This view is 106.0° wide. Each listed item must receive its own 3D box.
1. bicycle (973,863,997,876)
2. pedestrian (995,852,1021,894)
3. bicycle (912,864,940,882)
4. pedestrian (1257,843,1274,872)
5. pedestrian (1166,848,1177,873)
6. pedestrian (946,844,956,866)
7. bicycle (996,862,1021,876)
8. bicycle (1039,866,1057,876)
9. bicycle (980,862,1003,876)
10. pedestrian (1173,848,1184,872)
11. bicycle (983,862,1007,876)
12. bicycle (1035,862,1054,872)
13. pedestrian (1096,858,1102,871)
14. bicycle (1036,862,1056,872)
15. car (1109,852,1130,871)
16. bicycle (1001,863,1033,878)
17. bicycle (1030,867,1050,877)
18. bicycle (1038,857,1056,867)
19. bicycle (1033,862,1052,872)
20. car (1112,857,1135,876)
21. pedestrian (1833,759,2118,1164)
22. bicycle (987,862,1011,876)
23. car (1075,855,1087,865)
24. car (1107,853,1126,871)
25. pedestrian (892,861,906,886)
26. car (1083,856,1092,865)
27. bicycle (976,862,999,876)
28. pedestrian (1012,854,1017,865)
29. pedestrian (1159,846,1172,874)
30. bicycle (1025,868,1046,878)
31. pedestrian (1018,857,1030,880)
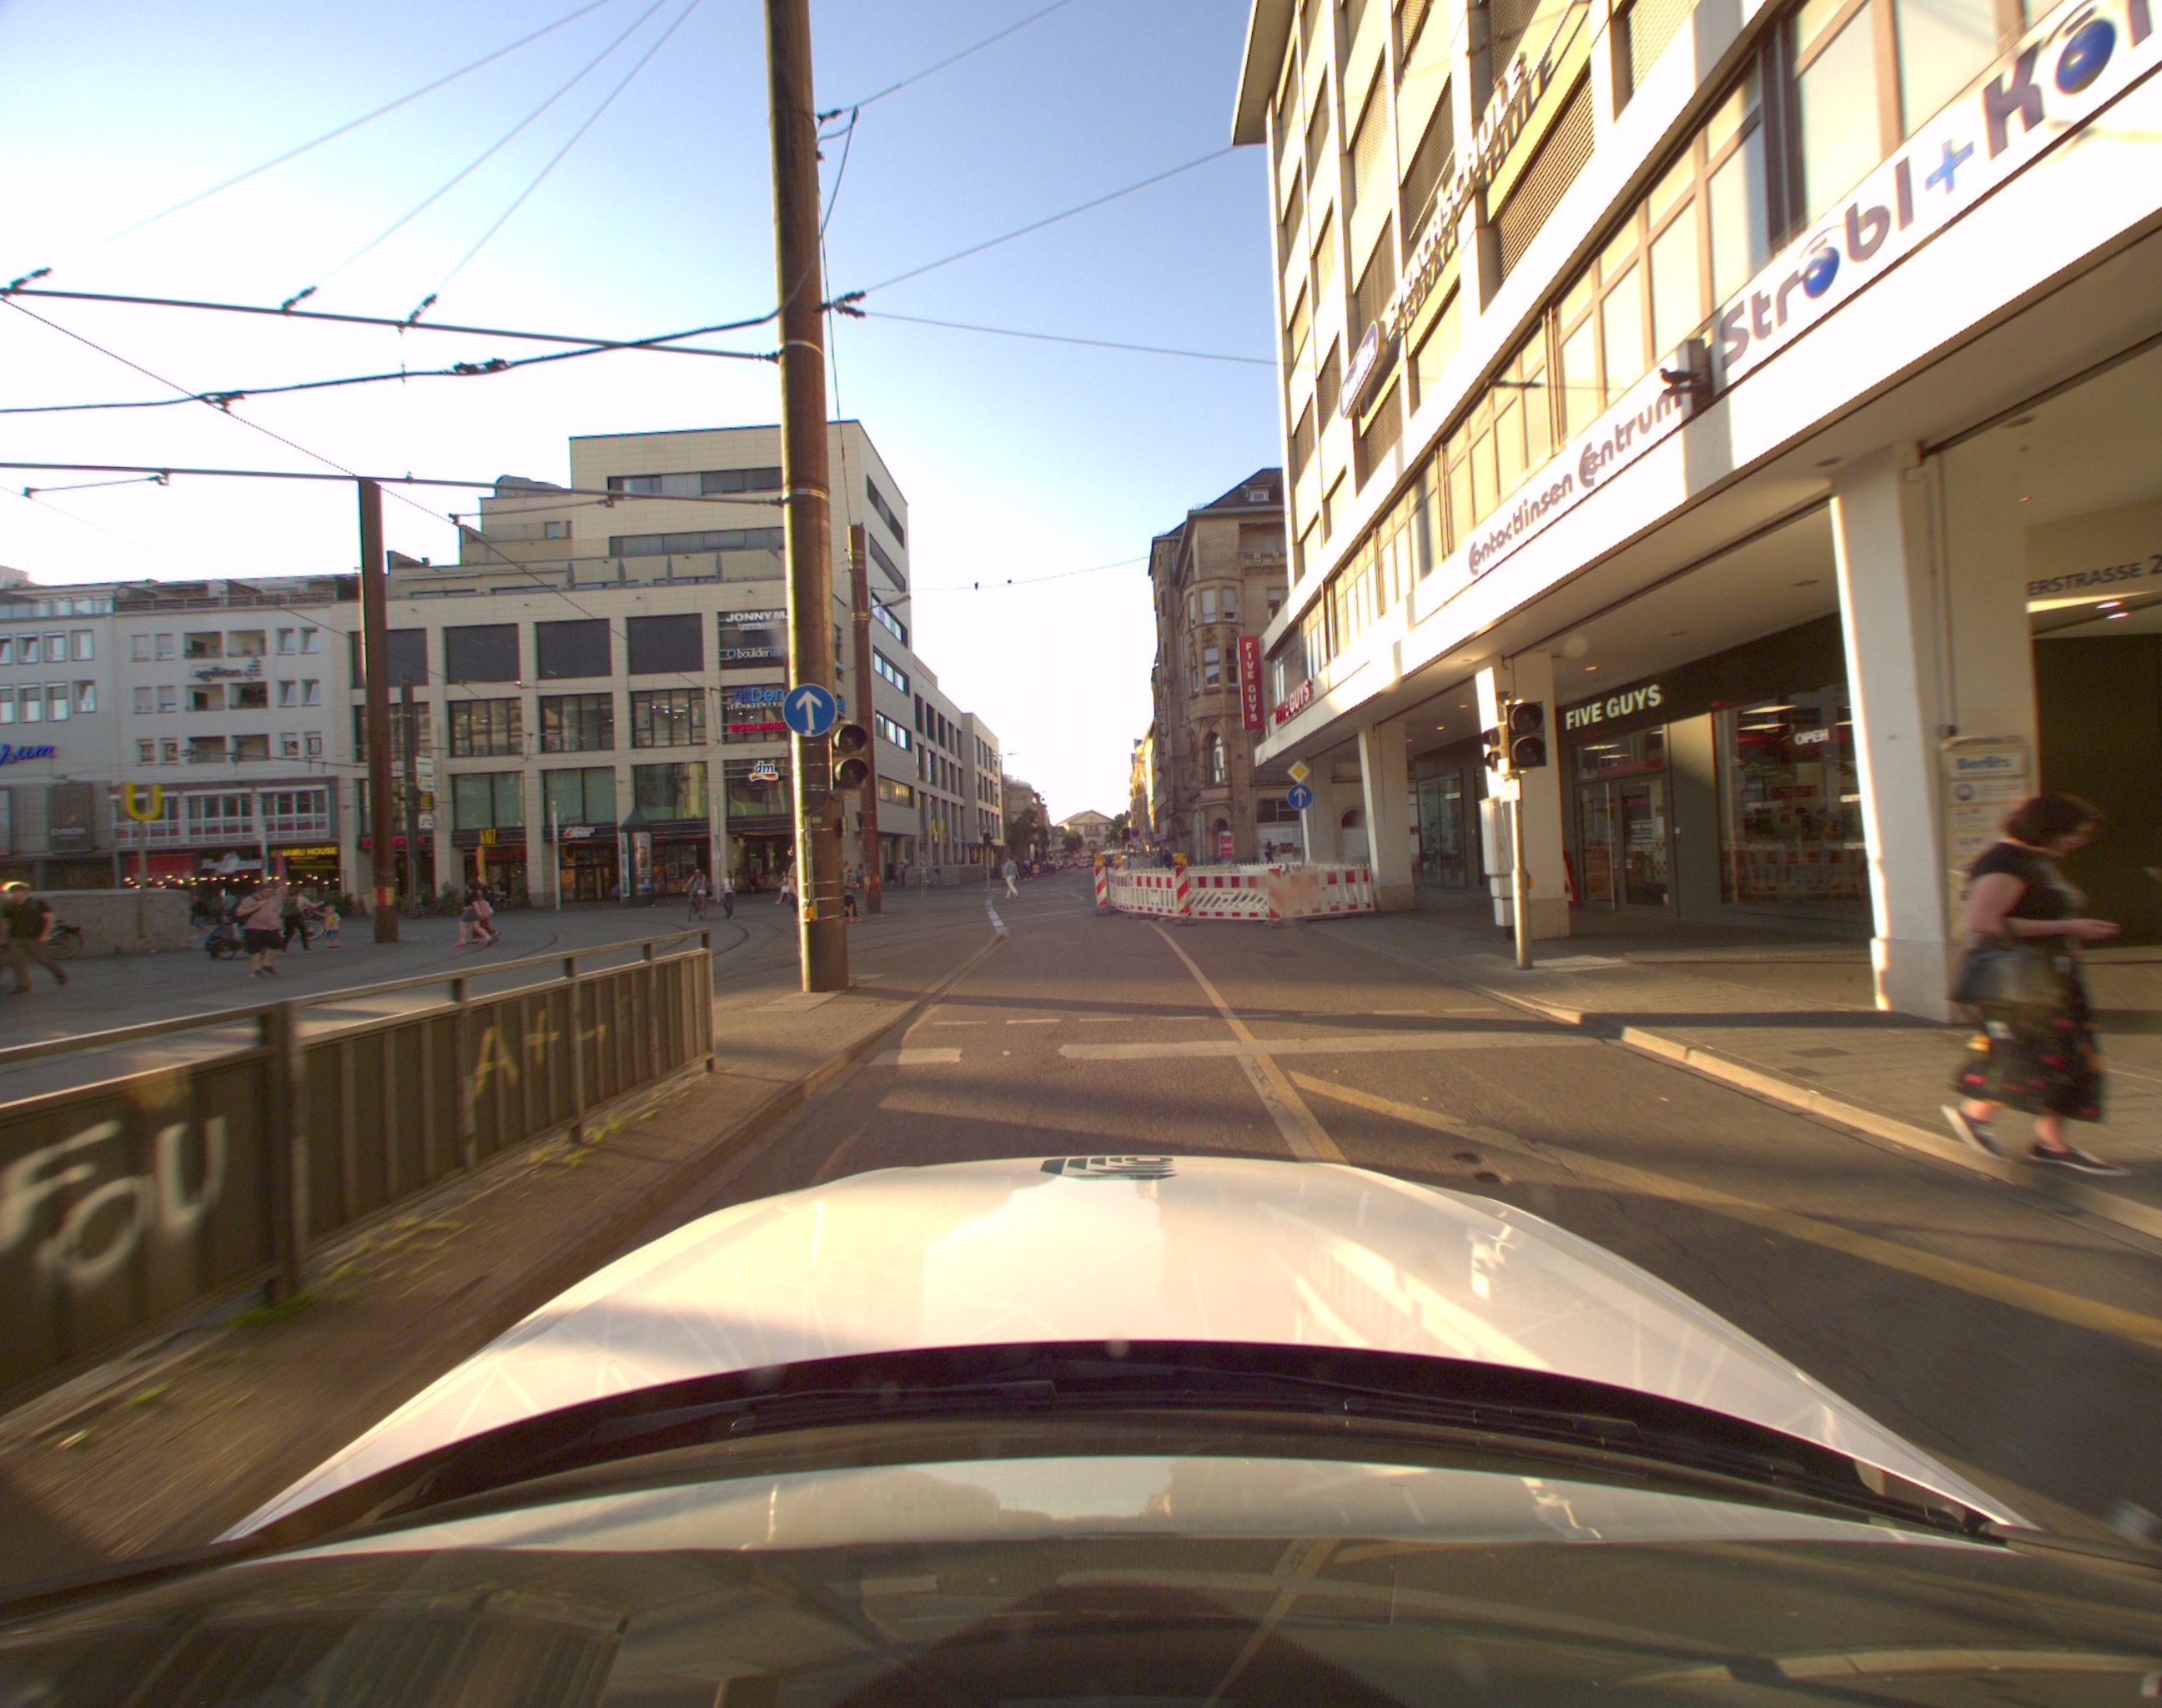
[{"bbox_3d":[-8.579,1.388,72.782,1.978,1.122,0.553,-1,-1,-28],"label":"bicycle"},{"bbox_3d":[-3.070,0.802,34.451,0.859,1.761,0.770,-1,-1,13],"label":"pedestrian"},{"bbox_3d":[-10.150,1.228,53.312,1.688,1.122,0.451,-1,-1,3],"label":"bicycle"},{"bbox_3d":[10.314,0.200,45.543,0.816,1.611,0.713,-1,-1,1],"label":"pedestrian"},{"bbox_3d":[6.334,0.459,56.811,0.623,1.690,0.671,-3,0,-1],"label":"pedestrian"},{"bbox_3d":[-10.306,0.081,64.758,0.679,1.681,0.600,-1,-1,-2],"label":"pedestrian"},{"bbox_3d":[-6.091,1.235,68.351,1.978,1.122,0.553,-1,-1,-28],"label":"bicycle"},{"bbox_3d":[-4.059,2.087,100.108,2.139,1.029,0.641,-3,0,3],"label":"bicycle"},{"bbox_3d":[-7.814,1.291,71.219,1.978,1.122,0.553,-1,-1,-28],"label":"bicycle"},{"bbox_3d":[6.866,0.417,57.516,0.623,1.690,0.626,-3,-1,-1],"label":"pedestrian"},{"bbox_3d":[-7.433,1.278,70.585,1.978,1.122,0.553,-1,-1,-28],"label":"bicycle"},{"bbox_3d":[-4.251,1.542,96.197,2.139,1.029,0.641,-3,0,3],"label":"bicycle"},{"bbox_3d":[2.558,1.511,115.732,0.602,1.823,0.448,-2,-1,-25],"label":"pedestrian"},{"bbox_3d":[-4.105,1.534,95.465,2.139,1.029,0.641,-3,0,3],"label":"bicycle"},{"bbox_3d":[3.501,0.703,74.576,1.673,1.547,3.674,-4,0,1],"label":"car"},{"bbox_3d":[-6.161,1.597,78.166,2.901,1.255,0.797,-3,0,-25],"label":"bicycle"},{"bbox_3d":[-4.530,1.982,89.841,2.139,0.953,0.641,-3,0,3],"label":"bicycle"},{"bbox_3d":[-4.076,0.988,98.255,2.139,1.029,0.641,-3,0,3],"label":"bicycle"},{"bbox_3d":[-4.471,1.538,94.679,2.139,1.029,0.641,-3,0,3],"label":"bicycle"},{"bbox_3d":[3.342,0.938,63.971,1.673,1.424,3.674,-2,0,1],"label":"car"},{"bbox_3d":[4.053,0.445,3.728,0.698,1.693,0.540,-1,-1,-6],"label":"pedestrian"},{"bbox_3d":[-7.047,1.266,69.938,1.978,1.122,0.553,-1,-1,-28],"label":"bicycle"},{"bbox_3d":[0.007,1.122,153.770,1.986,1.904,4.001,-1,0,1],"label":"car"},{"bbox_3d":[3.464,0.753,80.666,1.673,1.613,4.029,-4,0,1],"label":"car"},{"bbox_3d":[-12.596,1.339,56.395,0.780,1.751,0.600,-1,-1,-2],"label":"pedestrian"},{"bbox_3d":[1.416,1.348,176.784,1.986,1.904,4.001,-1,0,1],"label":"car"},{"bbox_3d":[-8.253,1.304,71.830,1.978,1.122,0.553,-1,-1,-28],"label":"bicycle"},{"bbox_3d":[-10.049,0.886,123.556,0.677,1.621,0.573,-3,-1,1],"label":"pedestrian"},{"bbox_3d":[5.228,0.344,50.303,0.623,1.690,0.671,-3,0,-1],"label":"pedestrian"},{"bbox_3d":[-4.812,1.971,86.732,2.139,0.953,0.641,-3,0,3],"label":"bicycle"},{"bbox_3d":[-4.400,1.124,62.676,0.833,1.720,0.680,-3,-1,-7],"label":"pedestrian"}]
